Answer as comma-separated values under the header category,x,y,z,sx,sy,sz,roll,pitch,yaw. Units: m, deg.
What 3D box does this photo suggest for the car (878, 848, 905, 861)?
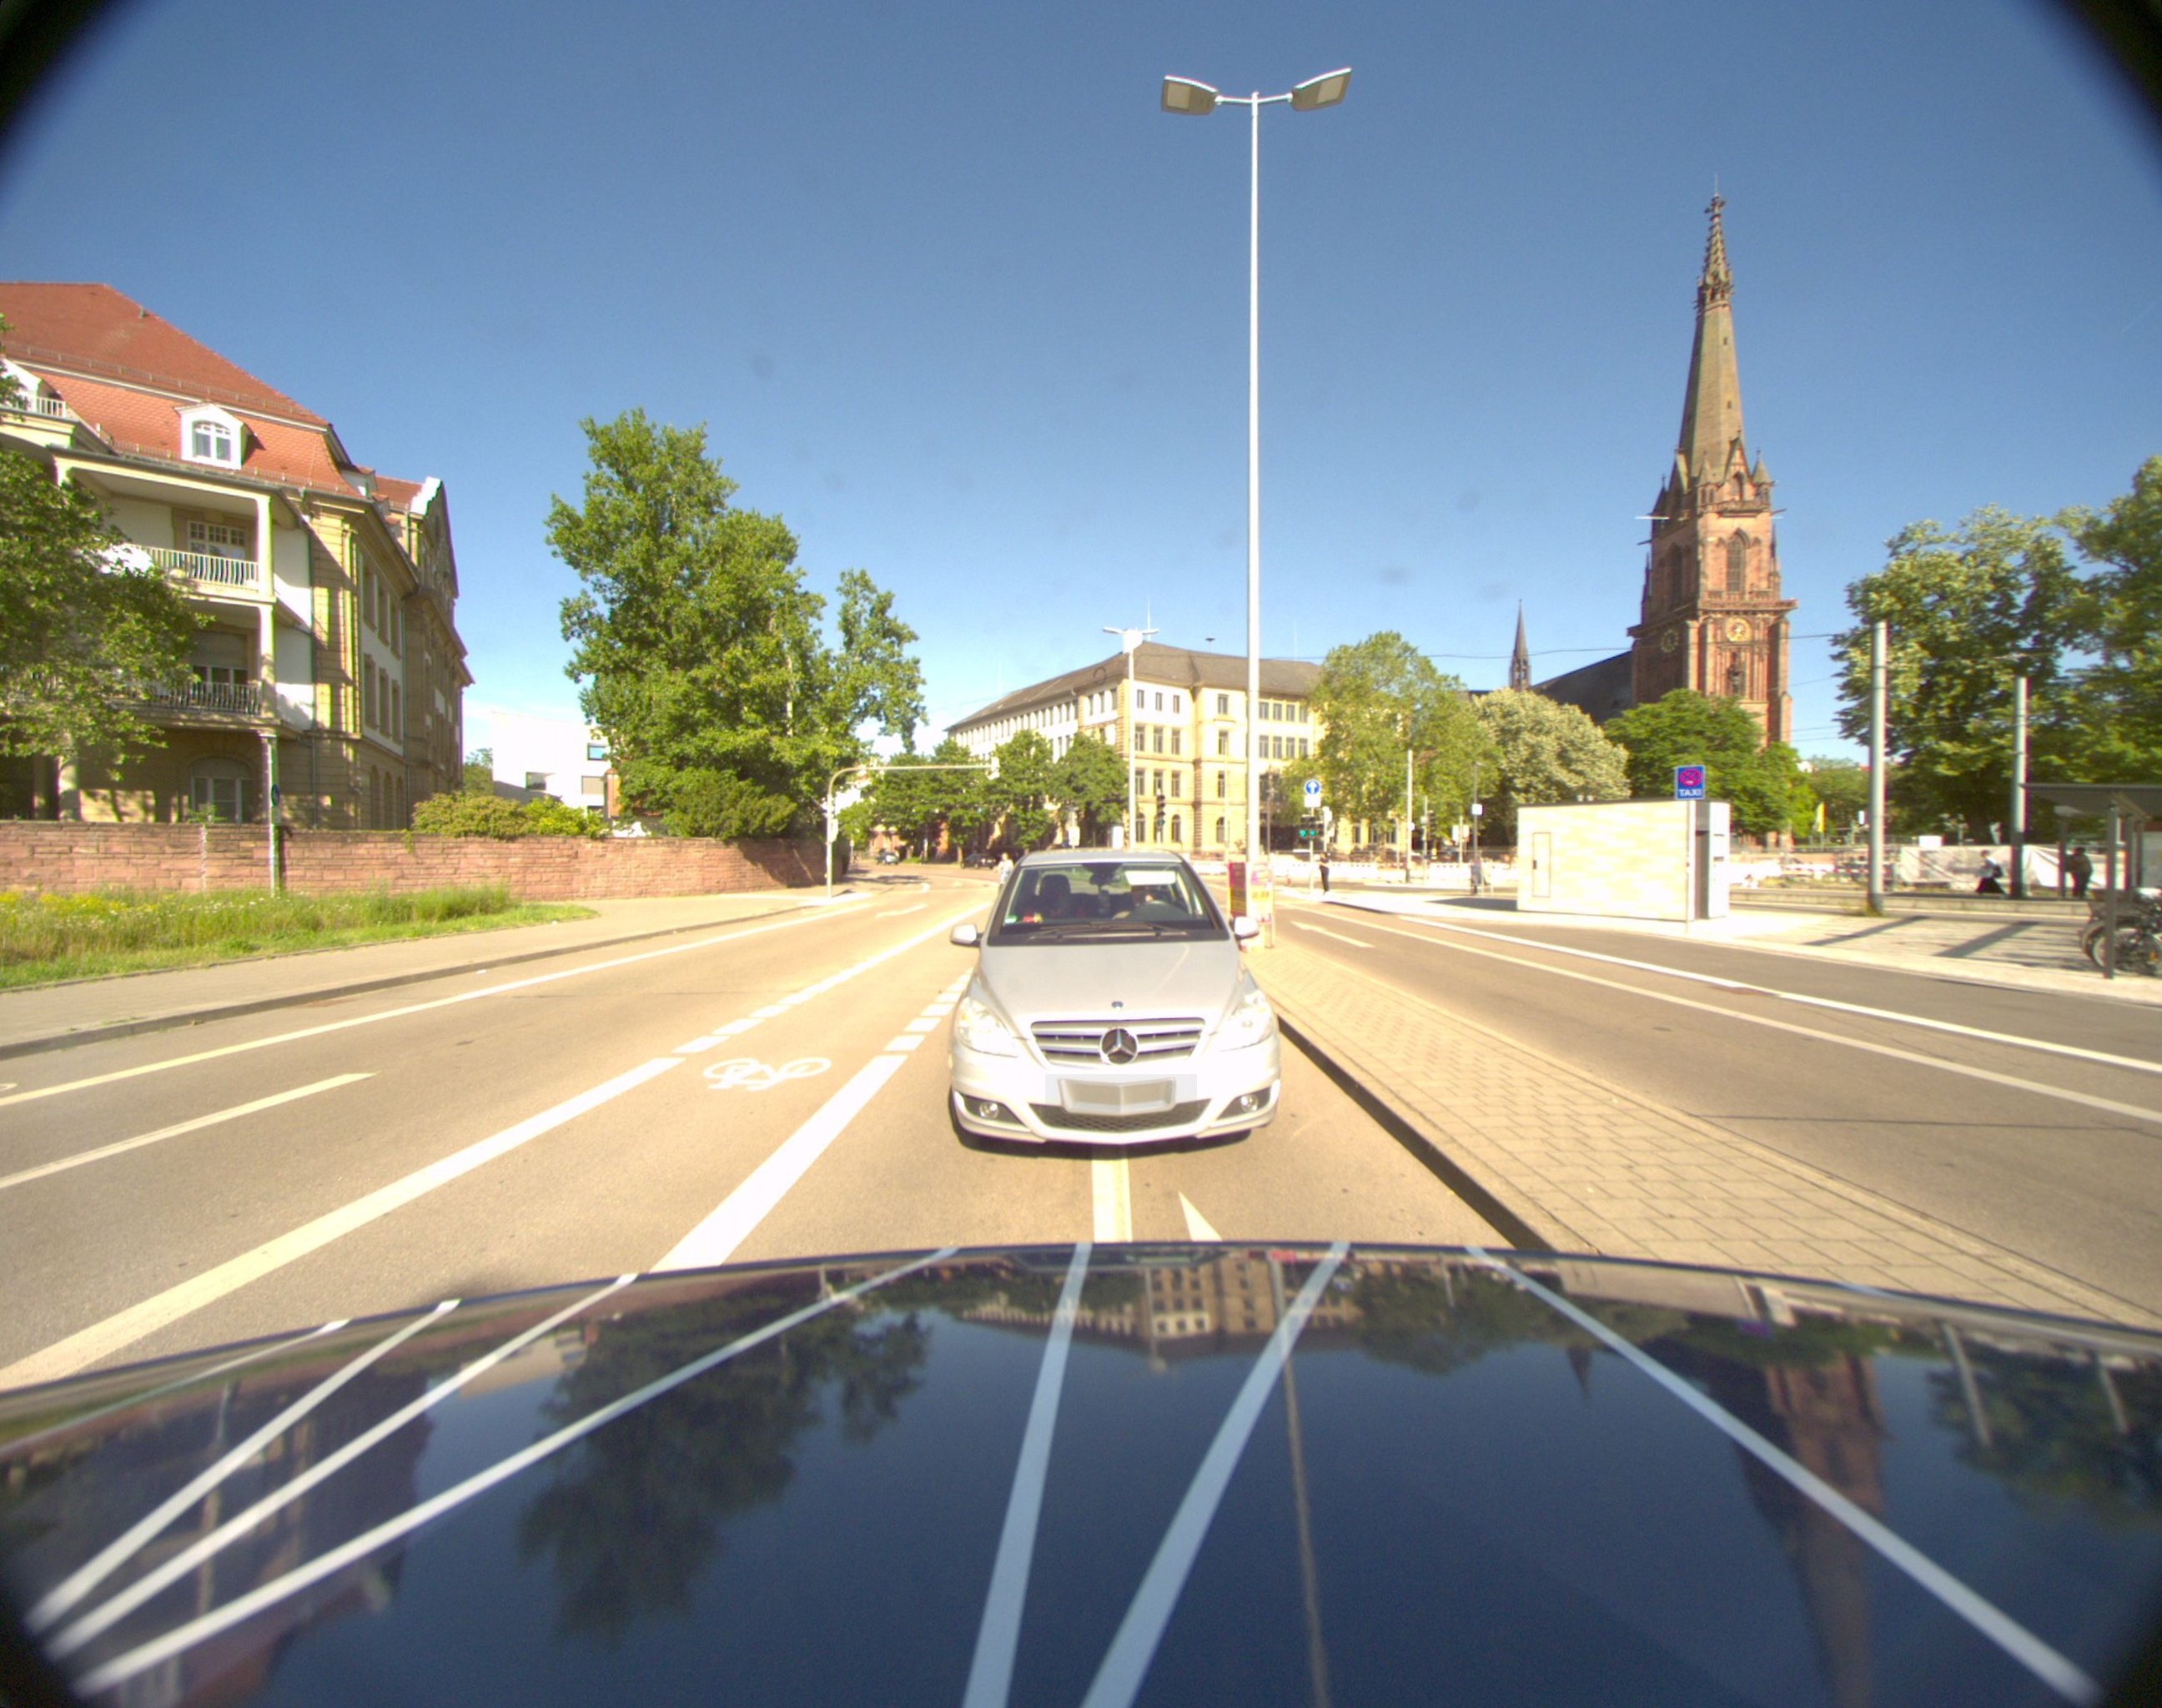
category,x,y,z,sx,sy,sz,roll,pitch,yaw
car,-23.756,0.022,95.032,1.865,1.533,4.229,1,1,-35

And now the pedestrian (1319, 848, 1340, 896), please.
category,x,y,z,sx,sy,sz,roll,pitch,yaw
pedestrian,9.752,0.700,29.809,0.693,1.844,0.679,0,1,12

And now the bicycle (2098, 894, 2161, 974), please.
category,x,y,z,sx,sy,sz,roll,pitch,yaw
bicycle,15.193,1.125,10.281,0.458,1.055,1.667,-1,1,-33

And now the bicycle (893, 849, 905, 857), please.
category,x,y,z,sx,sy,sz,roll,pitch,yaw
bicycle,-24.381,-0.162,101.916,1.830,0.985,0.735,0,1,44

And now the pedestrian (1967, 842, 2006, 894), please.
category,x,y,z,sx,sy,sz,roll,pitch,yaw
pedestrian,31.476,0.478,26.417,0.980,1.769,0.801,-1,1,-37

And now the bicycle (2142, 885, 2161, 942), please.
category,x,y,z,sx,sy,sz,roll,pitch,yaw
bicycle,19.887,1.077,13.201,0.458,1.003,1.667,-1,1,-33

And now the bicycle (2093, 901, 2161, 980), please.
category,x,y,z,sx,sy,sz,roll,pitch,yaw
bicycle,14.692,1.173,9.966,0.458,1.003,1.667,-1,1,-33

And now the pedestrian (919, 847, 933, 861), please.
category,x,y,z,sx,sy,sz,roll,pitch,yaw
pedestrian,-20.269,-0.015,99.361,0.934,1.812,1.394,1,1,45

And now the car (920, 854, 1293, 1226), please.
category,x,y,z,sx,sy,sz,roll,pitch,yaw
car,0.090,0.869,5.497,1.706,1.657,3.913,-1,1,-1

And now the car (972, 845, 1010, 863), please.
category,x,y,z,sx,sy,sz,roll,pitch,yaw
car,-10.739,-0.037,90.761,1.994,2.002,4.721,0,1,32

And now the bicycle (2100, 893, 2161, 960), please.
category,x,y,z,sx,sy,sz,roll,pitch,yaw
bicycle,17.253,1.149,11.656,0.458,1.003,1.899,-1,1,-33

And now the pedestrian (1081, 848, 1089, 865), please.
category,x,y,z,sx,sy,sz,roll,pitch,yaw
pedestrian,0.450,0.288,78.390,0.677,1.714,0.588,-1,1,-22

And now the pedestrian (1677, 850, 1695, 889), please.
category,x,y,z,sx,sy,sz,roll,pitch,yaw
pedestrian,34.002,0.868,42.705,0.571,2.142,0.549,-1,1,-25

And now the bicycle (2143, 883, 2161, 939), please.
category,x,y,z,sx,sy,sz,roll,pitch,yaw
bicycle,20.480,1.065,13.612,0.458,1.003,1.667,-1,1,-33

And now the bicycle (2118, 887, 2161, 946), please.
category,x,y,z,sx,sy,sz,roll,pitch,yaw
bicycle,19.120,1.100,12.950,0.458,1.003,1.667,-1,1,-33

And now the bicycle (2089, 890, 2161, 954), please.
category,x,y,z,sx,sy,sz,roll,pitch,yaw
bicycle,17.906,1.129,12.429,0.458,1.003,1.667,-1,1,-33

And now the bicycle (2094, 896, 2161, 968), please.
category,x,y,z,sx,sy,sz,roll,pitch,yaw
bicycle,16.066,1.161,10.978,0.458,1.003,1.667,-1,1,-33

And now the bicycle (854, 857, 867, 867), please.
category,x,y,z,sx,sy,sz,roll,pitch,yaw
bicycle,-22.240,0.785,76.705,0.711,1.000,1.753,-1,1,1

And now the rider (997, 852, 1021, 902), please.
category,x,y,z,sx,sy,sz,roll,pitch,yaw
rider,-2.412,0.756,25.463,0.658,1.610,0.989,-1,1,1

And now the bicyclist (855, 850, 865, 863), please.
category,x,y,z,sx,sy,sz,roll,pitch,yaw
bicyclist,-22.246,0.282,76.458,0.711,1.309,0.777,-1,1,1

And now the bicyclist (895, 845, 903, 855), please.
category,x,y,z,sx,sy,sz,roll,pitch,yaw
bicyclist,-24.417,-0.516,101.930,0.893,1.377,0.735,1,1,44

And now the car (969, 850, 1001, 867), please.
category,x,y,z,sx,sy,sz,roll,pitch,yaw
car,-9.538,0.414,74.964,1.797,1.490,4.565,1,1,-25

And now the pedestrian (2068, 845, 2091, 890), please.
category,x,y,z,sx,sy,sz,roll,pitch,yaw
pedestrian,37.563,0.501,28.580,0.404,1.711,0.419,1,1,38
